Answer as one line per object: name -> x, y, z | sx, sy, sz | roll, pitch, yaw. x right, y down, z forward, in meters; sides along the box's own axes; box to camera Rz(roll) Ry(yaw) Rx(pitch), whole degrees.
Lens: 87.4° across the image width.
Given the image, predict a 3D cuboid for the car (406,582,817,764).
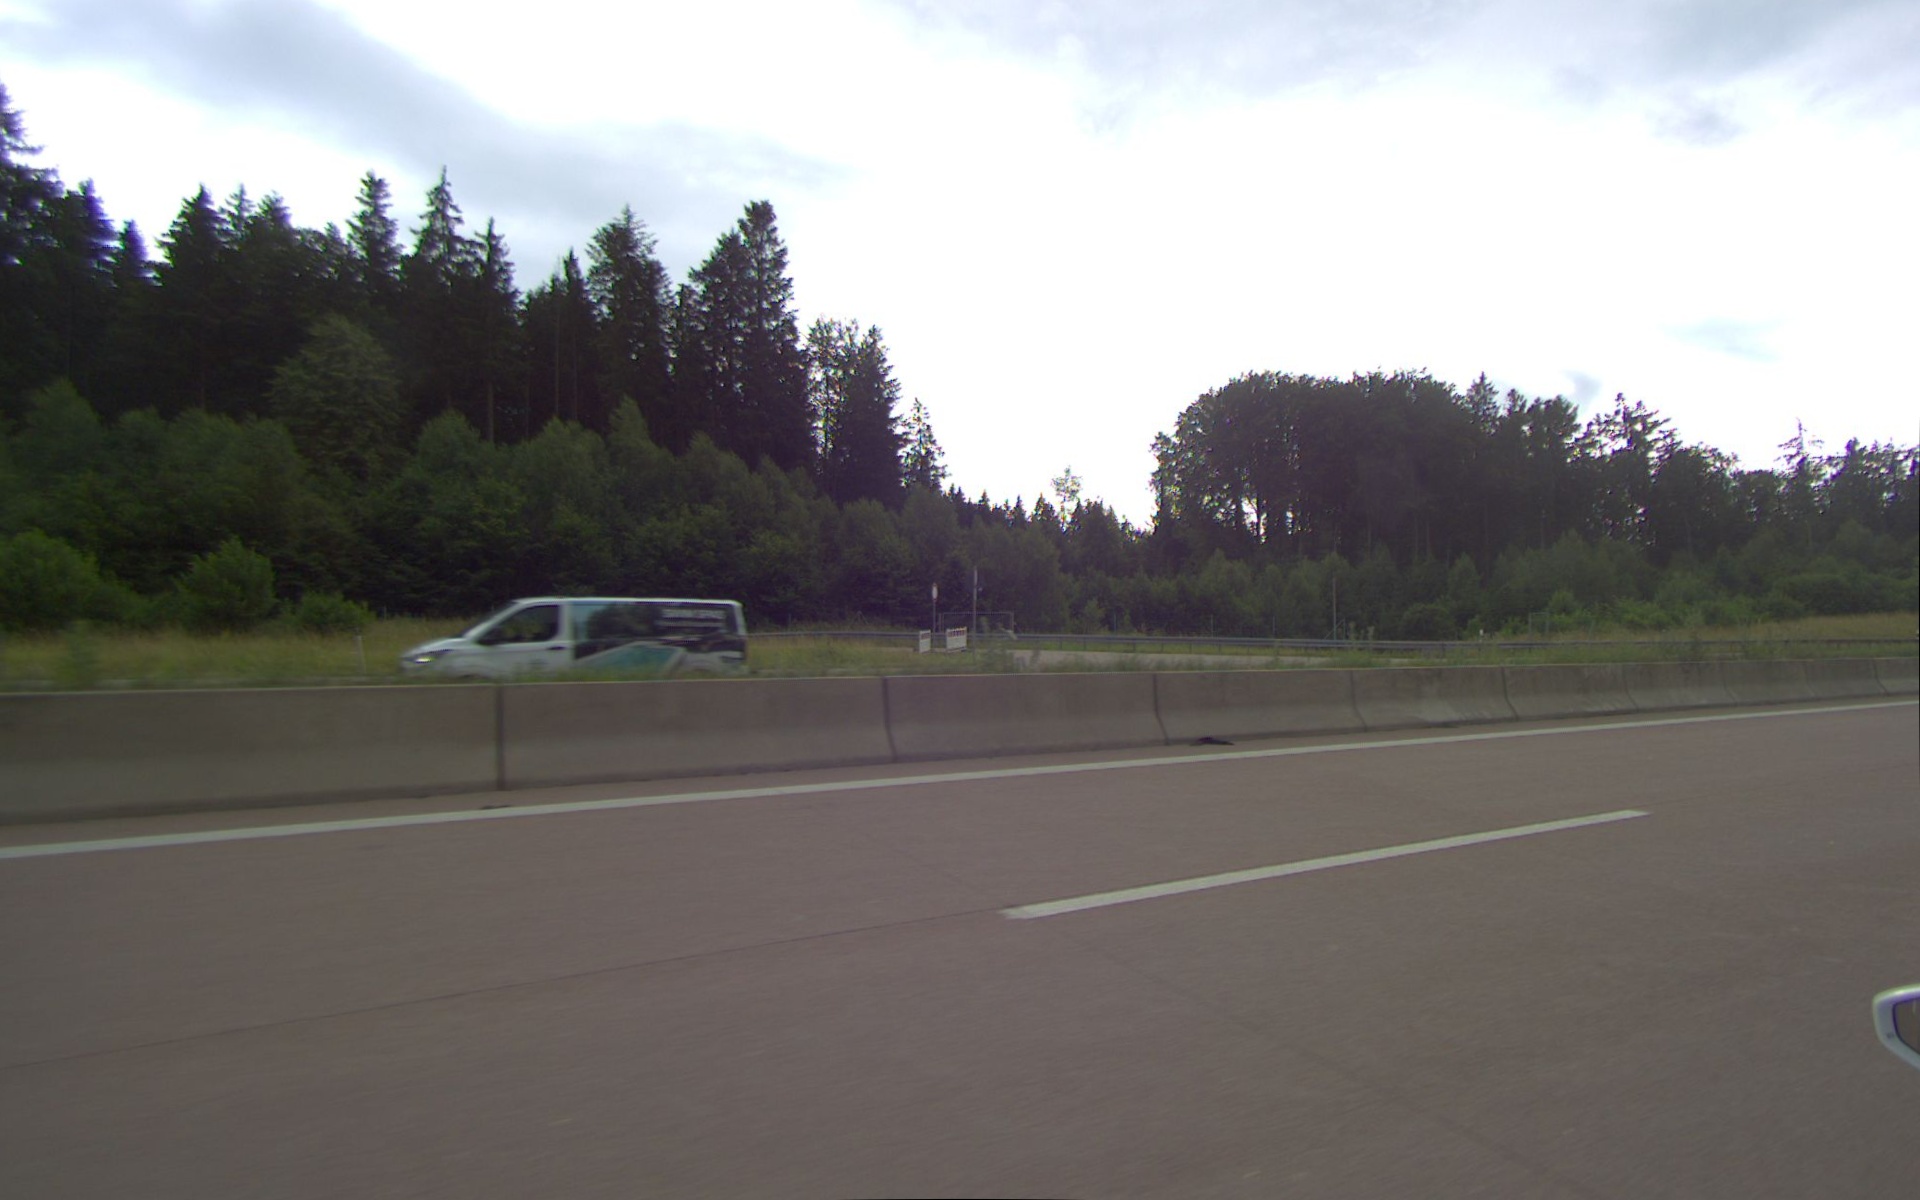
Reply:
car -> -5.766, 1.138, 17.076 | 6.283, 2.644, 2.023 | 2, 0, -32
